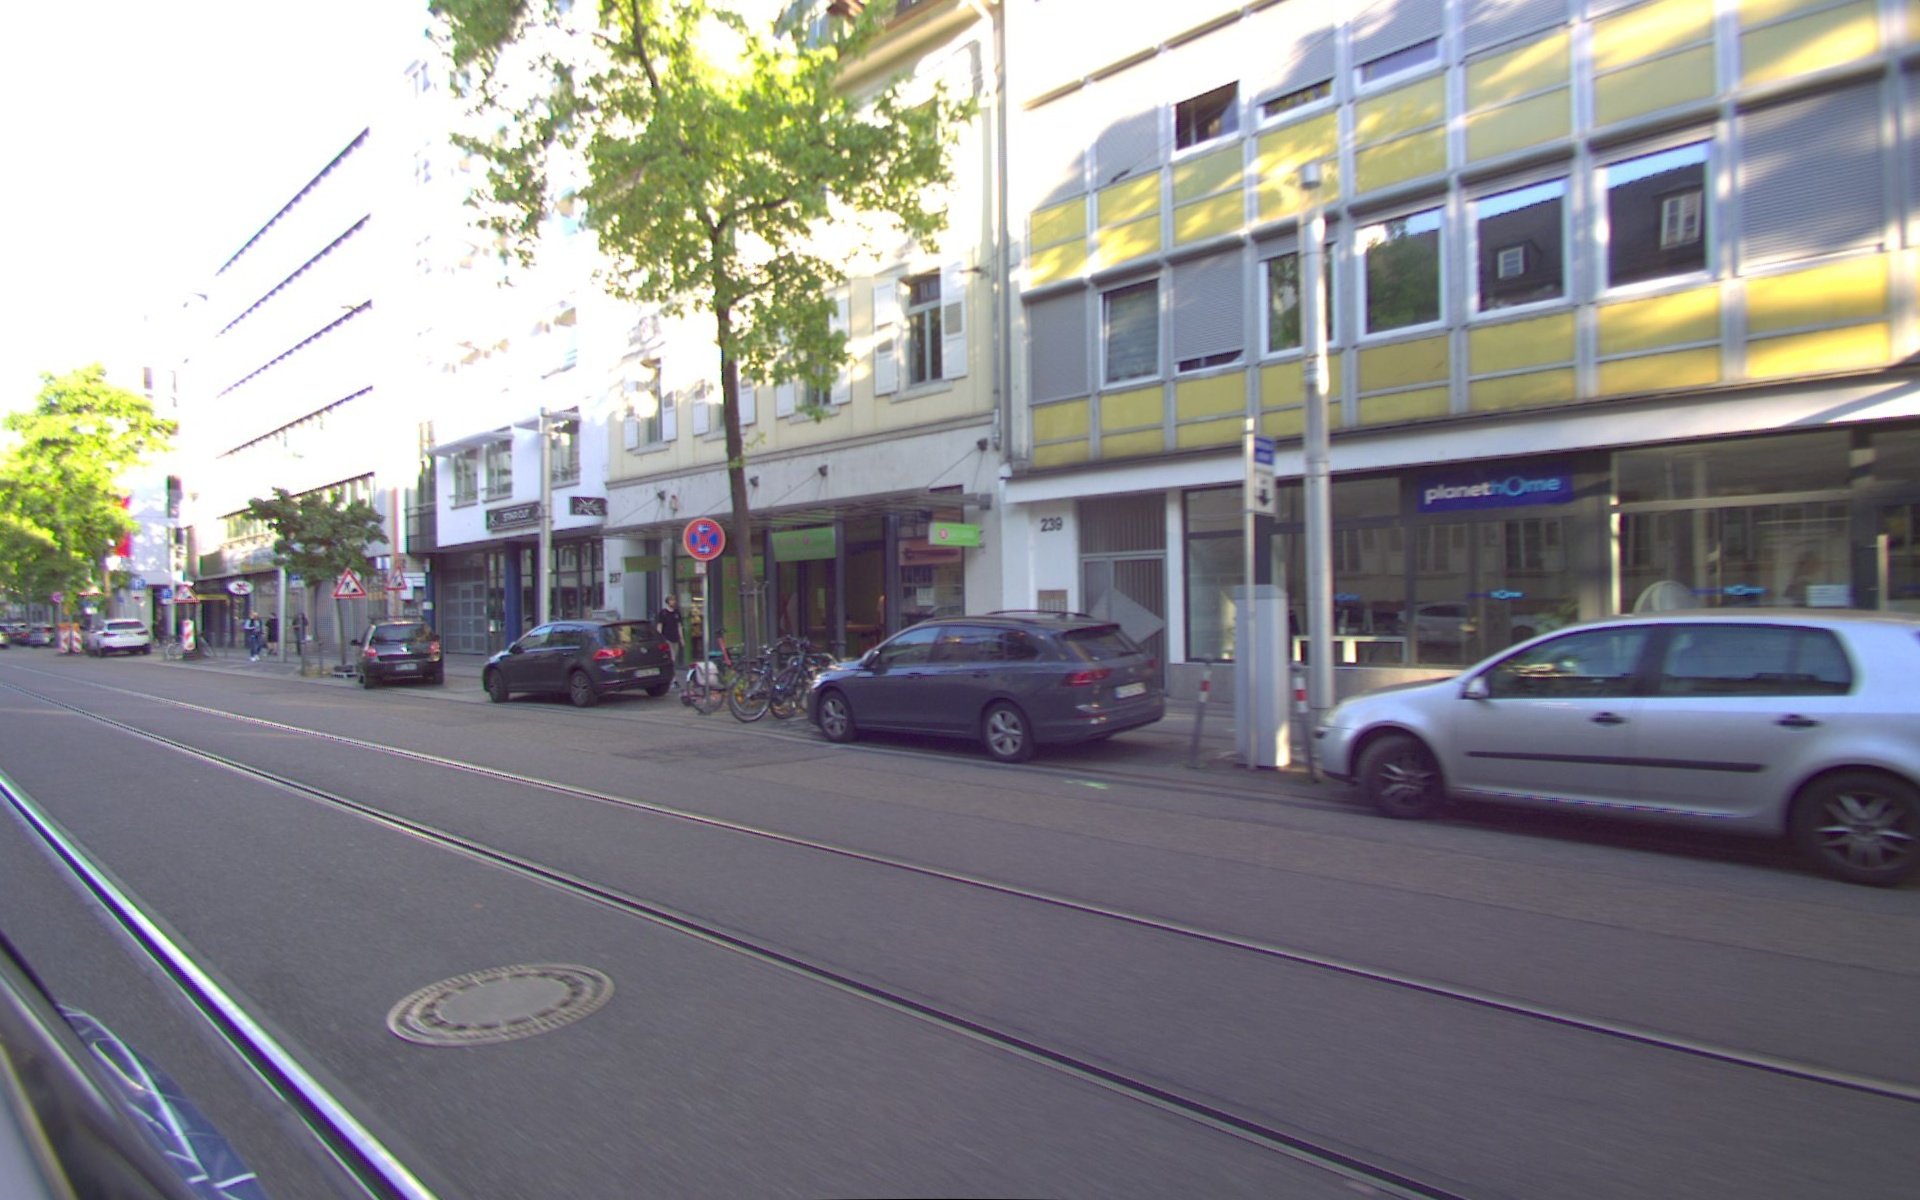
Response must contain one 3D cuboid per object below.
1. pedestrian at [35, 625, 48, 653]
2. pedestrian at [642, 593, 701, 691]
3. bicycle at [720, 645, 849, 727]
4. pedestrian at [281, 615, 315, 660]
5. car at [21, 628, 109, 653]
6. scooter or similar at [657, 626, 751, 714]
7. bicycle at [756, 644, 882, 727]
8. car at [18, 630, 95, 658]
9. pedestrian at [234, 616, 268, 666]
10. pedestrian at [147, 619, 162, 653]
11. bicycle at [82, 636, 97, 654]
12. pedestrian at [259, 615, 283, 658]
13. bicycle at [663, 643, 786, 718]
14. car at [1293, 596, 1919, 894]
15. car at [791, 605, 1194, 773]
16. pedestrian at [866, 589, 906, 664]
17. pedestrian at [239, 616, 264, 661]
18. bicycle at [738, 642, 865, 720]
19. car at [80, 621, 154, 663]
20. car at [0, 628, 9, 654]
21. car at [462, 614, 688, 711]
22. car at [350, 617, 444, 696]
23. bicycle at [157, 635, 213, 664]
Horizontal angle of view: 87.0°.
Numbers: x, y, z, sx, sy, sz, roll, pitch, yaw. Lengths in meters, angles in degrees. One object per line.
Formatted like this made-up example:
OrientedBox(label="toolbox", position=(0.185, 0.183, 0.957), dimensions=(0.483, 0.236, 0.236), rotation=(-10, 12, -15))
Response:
OrientedBox(label="pedestrian", position=(-64.181, 2.735, 70.701), dimensions=(0.723, 1.948, 0.647), rotation=(-2, -2, 44))
OrientedBox(label="pedestrian", position=(-5.645, 0.806, 19.811), dimensions=(0.878, 1.839, 0.653), rotation=(-2, 1, 42))
OrientedBox(label="bicycle", position=(-2.414, 1.169, 14.141), dimensions=(0.331, 1.009, 1.948), rotation=(-2, -1, 44))
OrientedBox(label="pedestrian", position=(-26.471, 1.495, 40.461), dimensions=(1.037, 1.708, 0.823), rotation=(-2, 1, 42))
OrientedBox(label="car", position=(-62.126, 2.790, 70.344), dimensions=(1.568, 1.423, 4.285), rotation=(-1, 2, 23))
OrientedBox(label="scooter or similar", position=(-4.064, 1.092, 16.136), dimensions=(1.403, 1.280, 0.375), rotation=(-3, 0, -44))
OrientedBox(label="bicycle", position=(-1.930, 1.158, 14.104), dimensions=(0.330, 1.009, 1.949), rotation=(-2, -1, 44))
OrientedBox(label="car", position=(-60.276, 2.890, 67.574), dimensions=(1.774, 1.572, 3.383), rotation=(-1, 2, 16))
OrientedBox(label="pedestrian", position=(-26.054, 1.499, 37.191), dimensions=(0.831, 1.780, 0.842), rotation=(-2, -1, 39))
OrientedBox(label="pedestrian", position=(-48.277, 2.143, 60.678), dimensions=(0.592, 2.029, 0.608), rotation=(-2, -2, 40))
OrientedBox(label="bicycle", position=(-45.015, 2.325, 52.319), dimensions=(0.496, 0.843, 1.536), rotation=(-4, 2, -42))
OrientedBox(label="pedestrian", position=(-27.970, 1.474, 41.087), dimensions=(0.620, 1.725, 0.808), rotation=(-2, 0, -44))
OrientedBox(label="bicycle", position=(-3.551, 1.191, 15.410), dimensions=(0.331, 1.009, 1.948), rotation=(-2, -1, 44))
OrientedBox(label="car", position=(4.590, 0.753, 6.753), dimensions=(1.746, 1.508, 4.179), rotation=(-1, 0, -42))
OrientedBox(label="car", position=(0.188, 0.867, 11.406), dimensions=(4.485, 1.472, 1.693), rotation=(-2, 1, 42))
OrientedBox(label="pedestrian", position=(-1.824, 0.646, 24.826), dimensions=(0.684, 1.792, 0.662), rotation=(-2, -2, 41))
OrientedBox(label="pedestrian", position=(-28.134, 1.533, 40.196), dimensions=(0.634, 1.725, 0.830), rotation=(-2, 0, -44))
OrientedBox(label="bicycle", position=(-2.303, 1.161, 14.931), dimensions=(1.948, 1.009, 0.420), rotation=(0, -1, -44))
OrientedBox(label="car", position=(-40.224, 1.981, 48.228), dimensions=(4.742, 1.767, 1.973), rotation=(-2, 1, 41))
OrientedBox(label="car", position=(-62.753, 2.623, 65.137), dimensions=(4.199, 1.624, 1.864), rotation=(-2, -3, 42))
OrientedBox(label="car", position=(-7.020, 1.063, 18.299), dimensions=(4.234, 1.501, 1.776), rotation=(-2, 1, 36))
OrientedBox(label="car", position=(-13.335, 1.261, 23.880), dimensions=(1.608, 1.628, 3.718), rotation=(-3, 0, -33))
OrientedBox(label="bicycle", position=(-31.510, 1.997, 41.166), dimensions=(1.724, 0.999, 0.479), rotation=(-5, 1, -41))
